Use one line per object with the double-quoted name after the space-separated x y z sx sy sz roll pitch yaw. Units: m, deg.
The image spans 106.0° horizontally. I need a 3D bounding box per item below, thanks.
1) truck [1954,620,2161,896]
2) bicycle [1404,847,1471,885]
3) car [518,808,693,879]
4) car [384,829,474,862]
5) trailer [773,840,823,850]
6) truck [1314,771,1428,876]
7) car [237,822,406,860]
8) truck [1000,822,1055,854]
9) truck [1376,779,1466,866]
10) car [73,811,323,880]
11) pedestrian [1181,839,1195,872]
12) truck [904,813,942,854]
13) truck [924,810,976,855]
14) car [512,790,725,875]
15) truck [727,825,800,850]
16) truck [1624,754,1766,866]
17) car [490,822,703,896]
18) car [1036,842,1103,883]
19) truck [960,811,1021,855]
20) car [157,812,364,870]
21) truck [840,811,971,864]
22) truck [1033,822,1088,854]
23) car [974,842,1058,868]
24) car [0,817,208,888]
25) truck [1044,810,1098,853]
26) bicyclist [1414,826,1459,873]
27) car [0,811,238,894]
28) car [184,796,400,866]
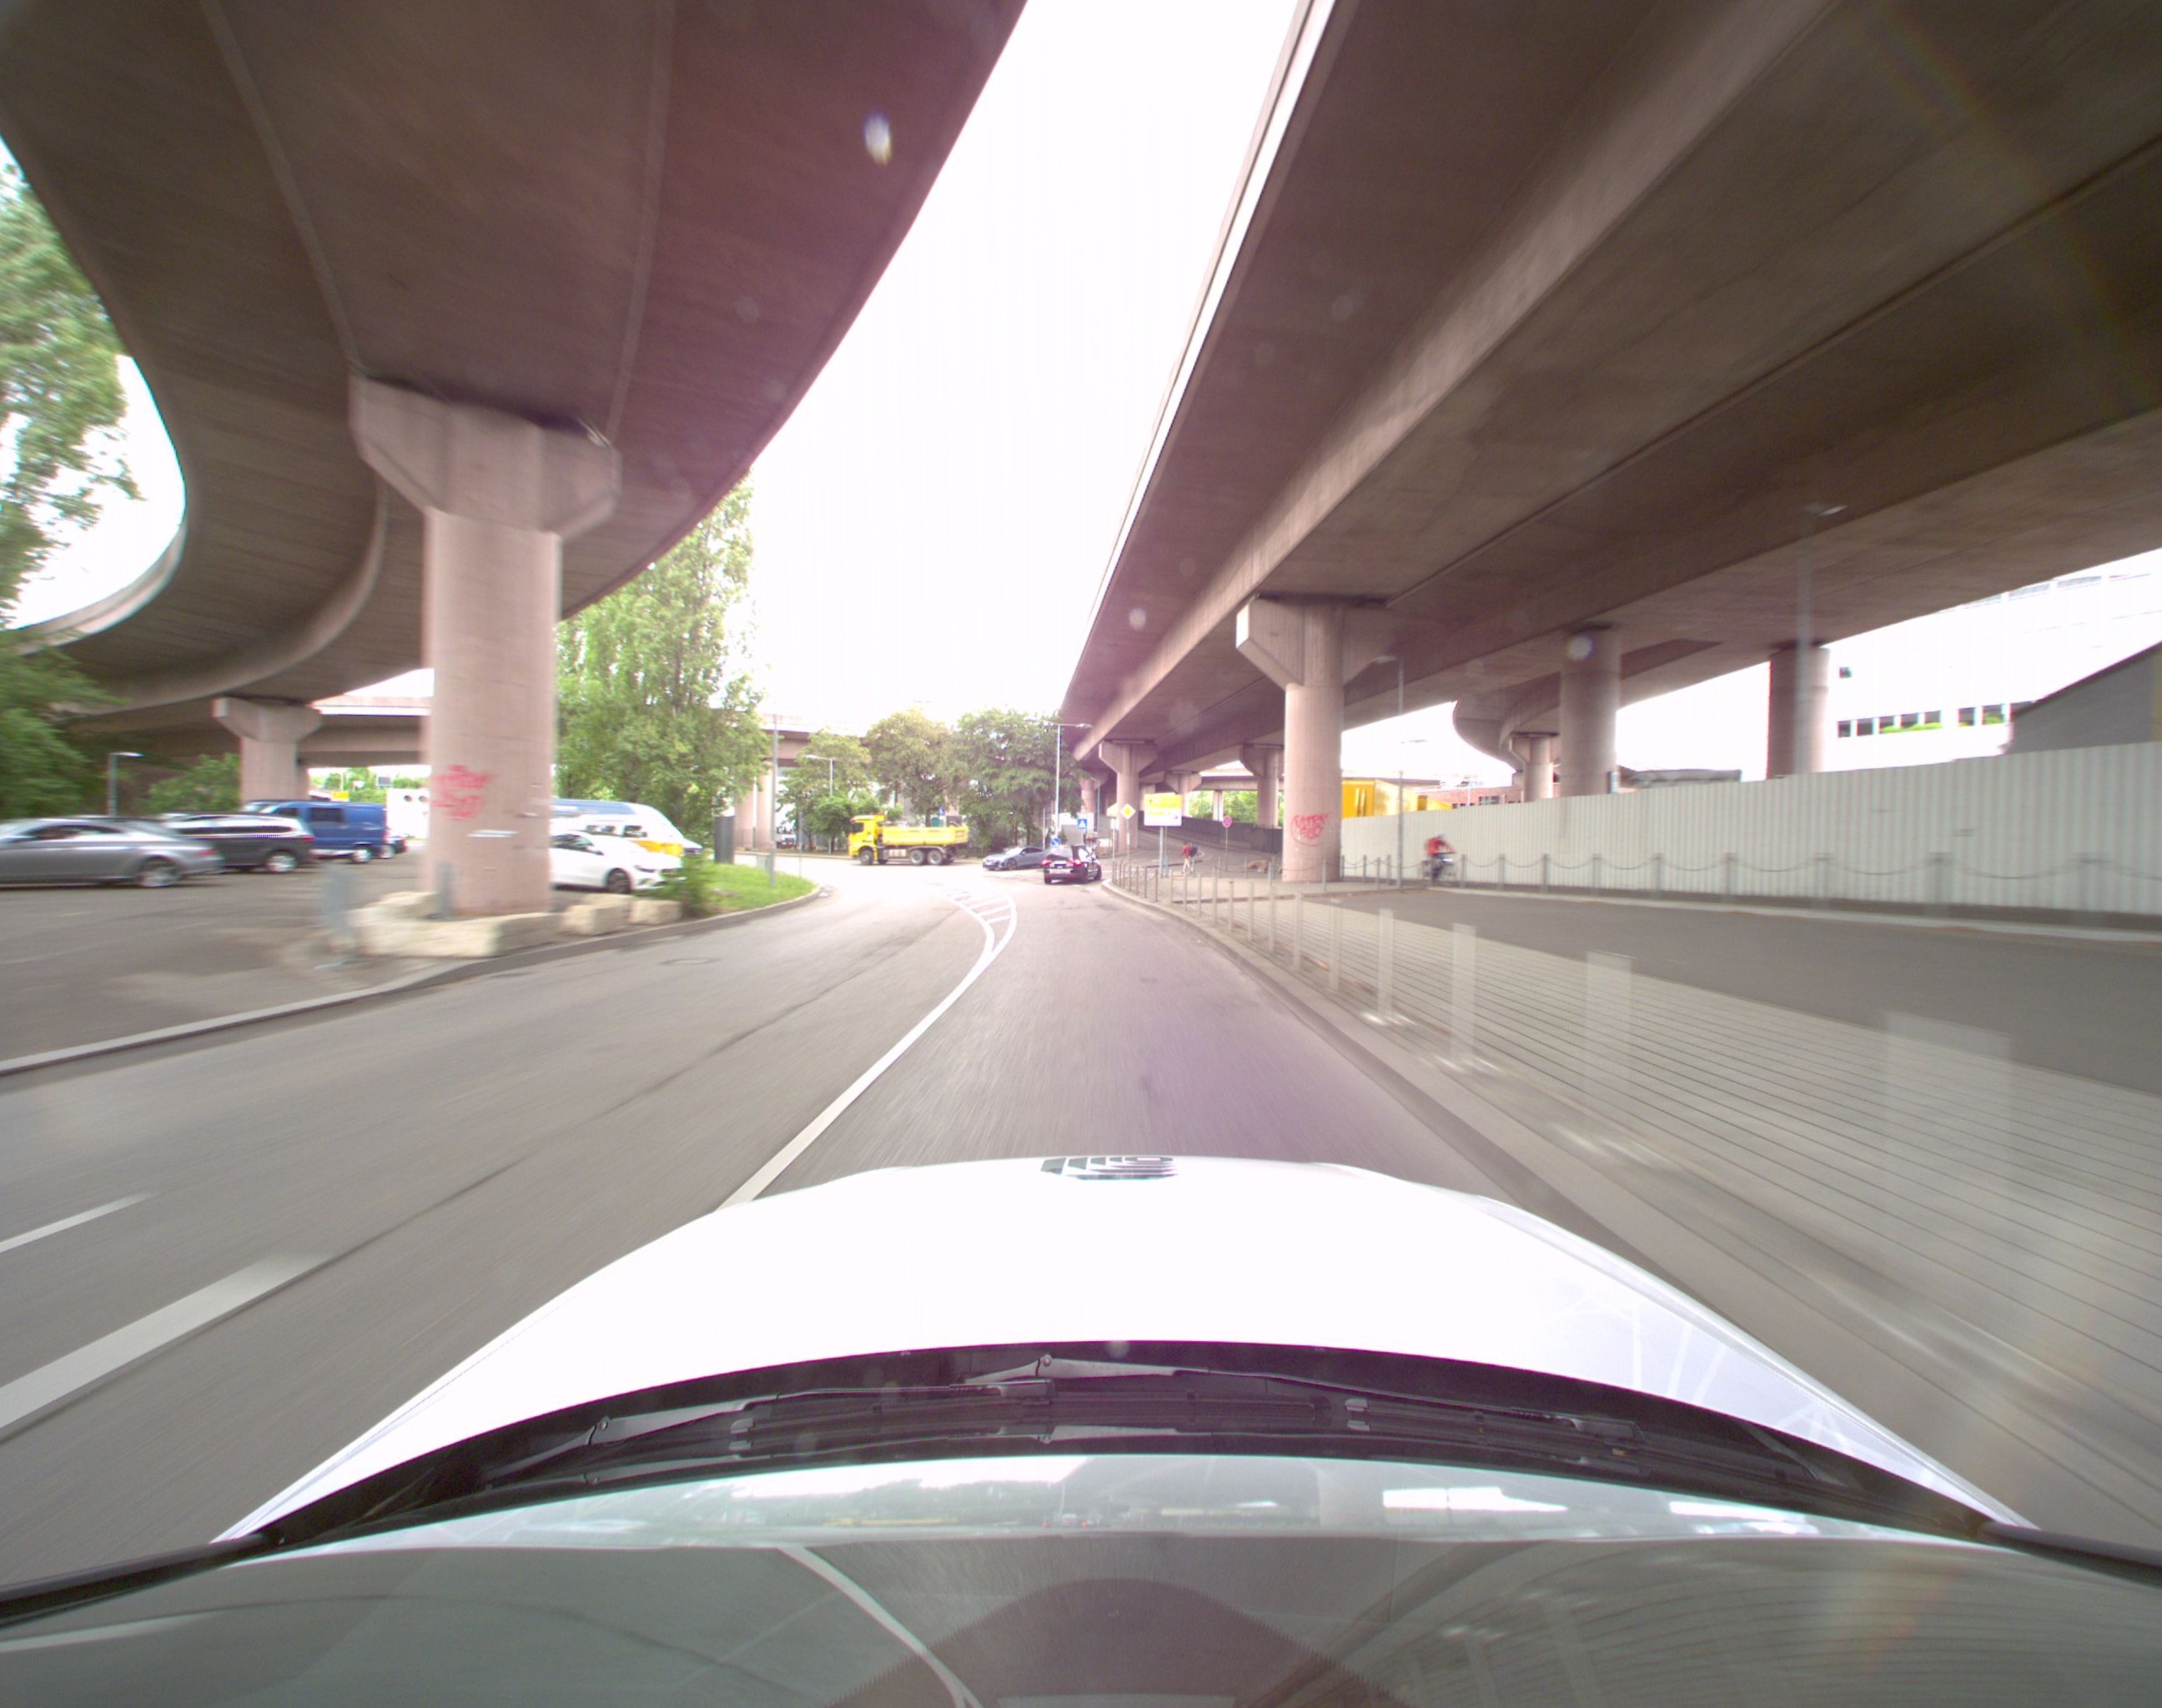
21.313 -1.640 16.409 3.107 4.443 9.788 0 1 35 "truck"
10.893 0.328 24.967 0.802 1.097 2.123 -1 1 -11 "bicycle"
-15.336 -0.342 26.429 4.538 2.111 1.852 2 1 2 "car"
-41.655 -0.544 52.171 3.997 2.013 1.989 -1 1 -17 "car"
-28.547 -0.887 82.025 6.216 0.743 2.169 2 5 44 "trailer"
15.312 -1.462 42.453 3.107 4.917 8.773 1 1 37 "truck"
-31.023 -0.524 33.489 1.977 1.435 4.668 -1 1 18 "car"
-5.169 -1.567 77.737 2.931 2.898 6.502 -1 3 -27 "truck"
21.156 -1.783 50.314 3.107 4.903 8.773 1 1 37 "truck"
-23.784 -0.239 22.179 1.879 1.675 4.175 0 1 20 "car"
5.596 0.079 42.670 0.537 1.675 0.555 -1 2 -18 "pedestrian"
-19.288 -2.593 99.087 3.215 4.779 7.992 -1 3 -22 "truck"
-12.252 -1.951 75.768 3.080 3.962 6.868 -1 1 -25 "truck"
-16.398 -0.754 29.188 6.160 2.724 2.366 2 1 -3 "car"
-34.143 -1.796 87.645 7.150 2.551 2.737 0 1 17 "truck"
20.016 -1.353 26.583 3.107 2.943 8.774 -3 0 38 "truck"
-12.416 0.108 21.041 4.357 1.605 1.958 3 1 7 "car"
-0.418 0.333 36.715 1.980 1.679 4.576 -1 1 13 "car"
-8.553 -2.010 75.951 3.082 3.867 7.980 -1 3 -27 "truck"
-25.727 -0.402 25.755 1.880 1.675 4.174 0 1 18 "car"
-12.012 -1.158 55.973 8.166 3.480 2.946 0 4 10 "truck"
-2.079 -1.629 79.426 2.931 2.898 6.502 -1 3 -27 "truck"
-3.892 0.019 49.308 2.146 1.501 4.962 0 1 43 "car"
-22.484 -0.051 18.170 1.633 1.441 3.748 0 1 12 "car"
-1.122 -2.455 86.656 3.078 4.298 7.991 -1 3 -22 "truck"
10.881 -0.153 24.973 0.796 1.405 1.062 -1 1 -11 "bicyclist"
-20.433 -0.071 16.089 1.842 1.487 4.912 3 2 18 "car"
-27.511 -0.766 28.677 2.101 2.254 5.039 0 1 15 "car"
